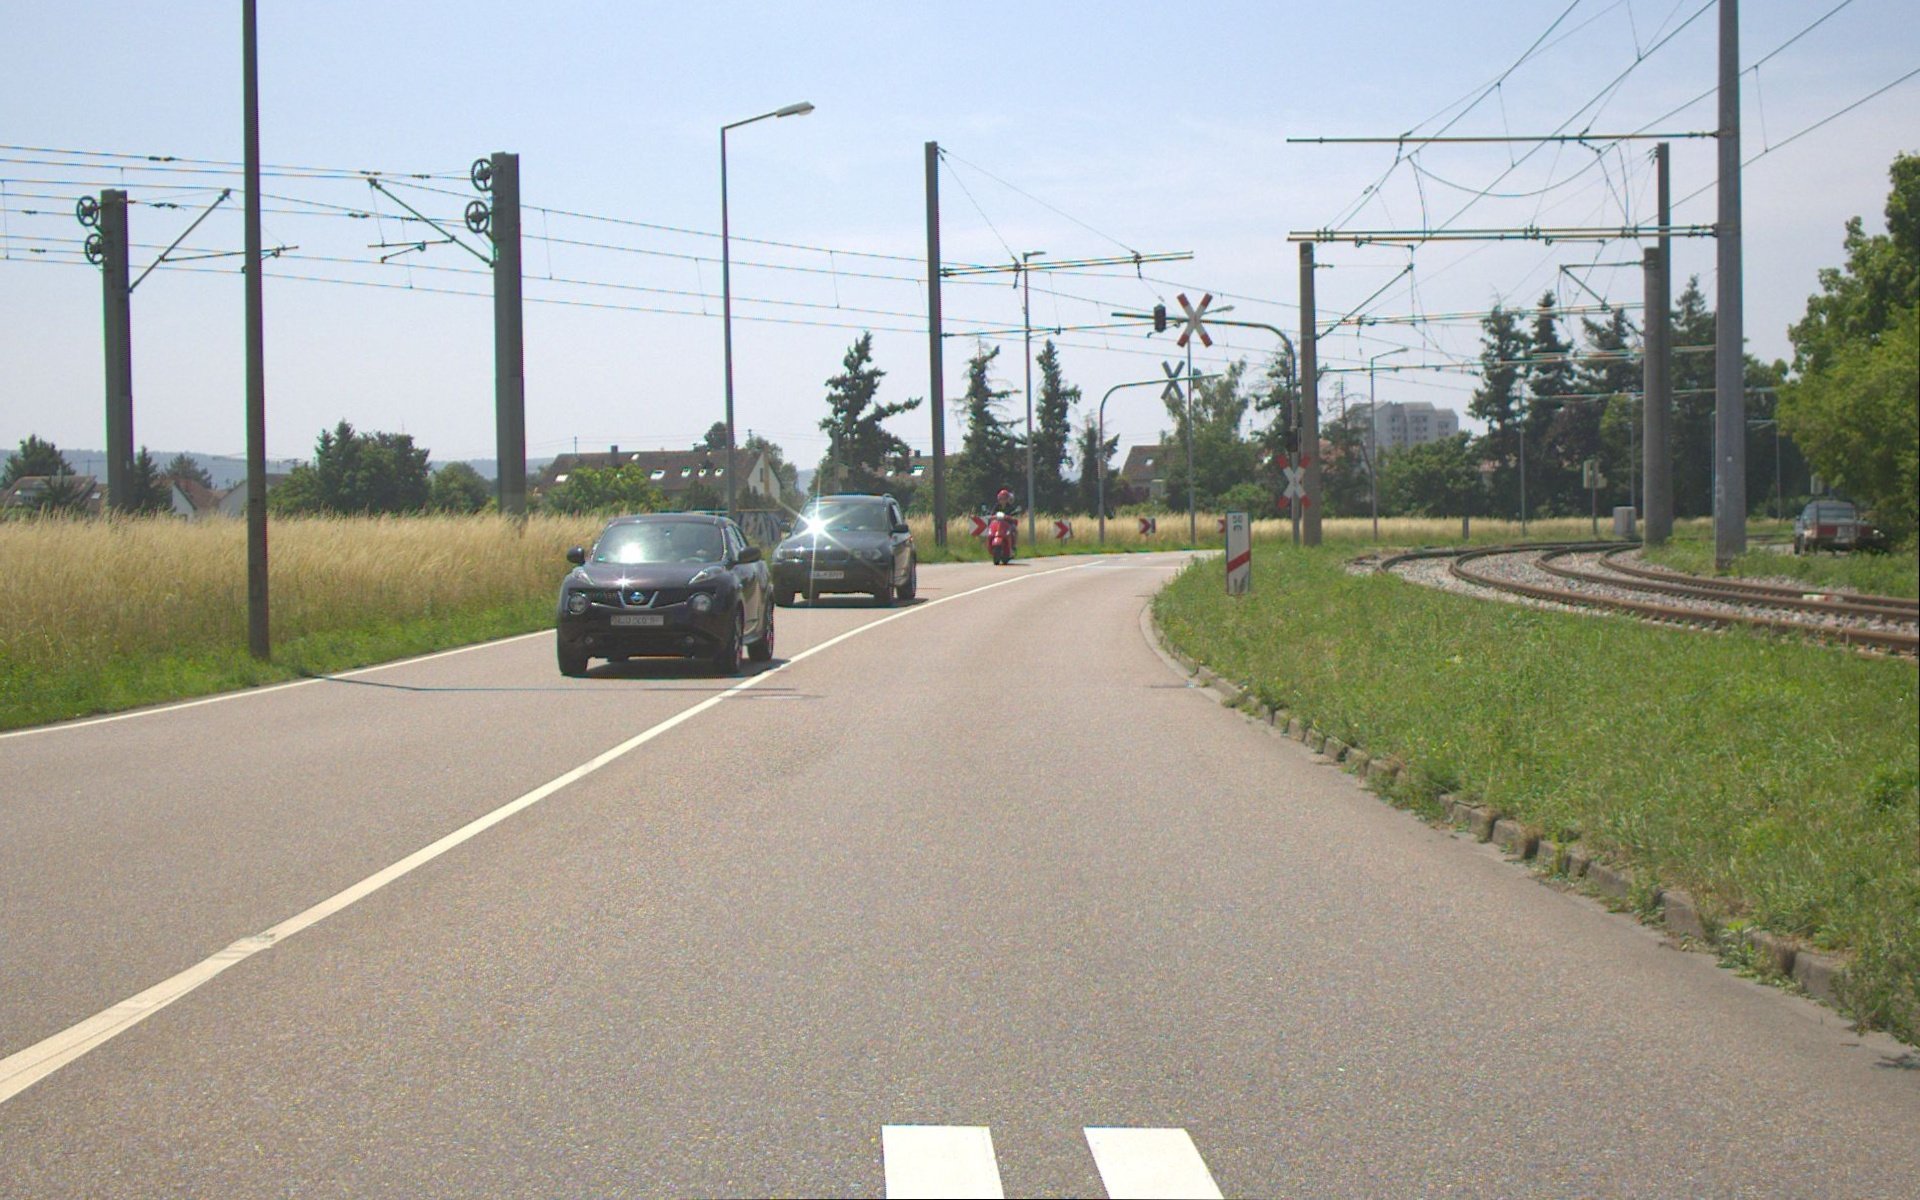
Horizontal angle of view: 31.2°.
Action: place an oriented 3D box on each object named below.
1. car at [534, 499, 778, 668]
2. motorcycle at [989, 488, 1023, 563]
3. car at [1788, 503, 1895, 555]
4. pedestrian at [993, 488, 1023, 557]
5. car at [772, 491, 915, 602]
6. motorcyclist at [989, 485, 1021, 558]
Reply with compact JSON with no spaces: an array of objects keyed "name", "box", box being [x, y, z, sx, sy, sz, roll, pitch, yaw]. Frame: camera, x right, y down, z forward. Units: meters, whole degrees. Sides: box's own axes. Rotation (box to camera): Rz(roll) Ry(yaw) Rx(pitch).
[{"name":"car","box":[-2.982,-0.170,34.541,1.822,1.567,4.112,-1,0,4]},{"name":"motorcycle","box":[1.027,-1.673,76.416,0.704,1.580,2.147,-1,3,2]},{"name":"car","box":[21.273,-1.704,83.105,1.644,1.166,3.669,-1,0,0]},{"name":"pedestrian","box":[1.070,-1.739,76.916,0.642,1.530,0.577,-1,3,2]},{"name":"car","box":[-1.743,-0.858,52.837,1.827,1.596,4.484,-1,2,3]},{"name":"motorcyclist","box":[1.000,-1.750,76.264,0.688,1.580,0.670,-1,4,2]}]
